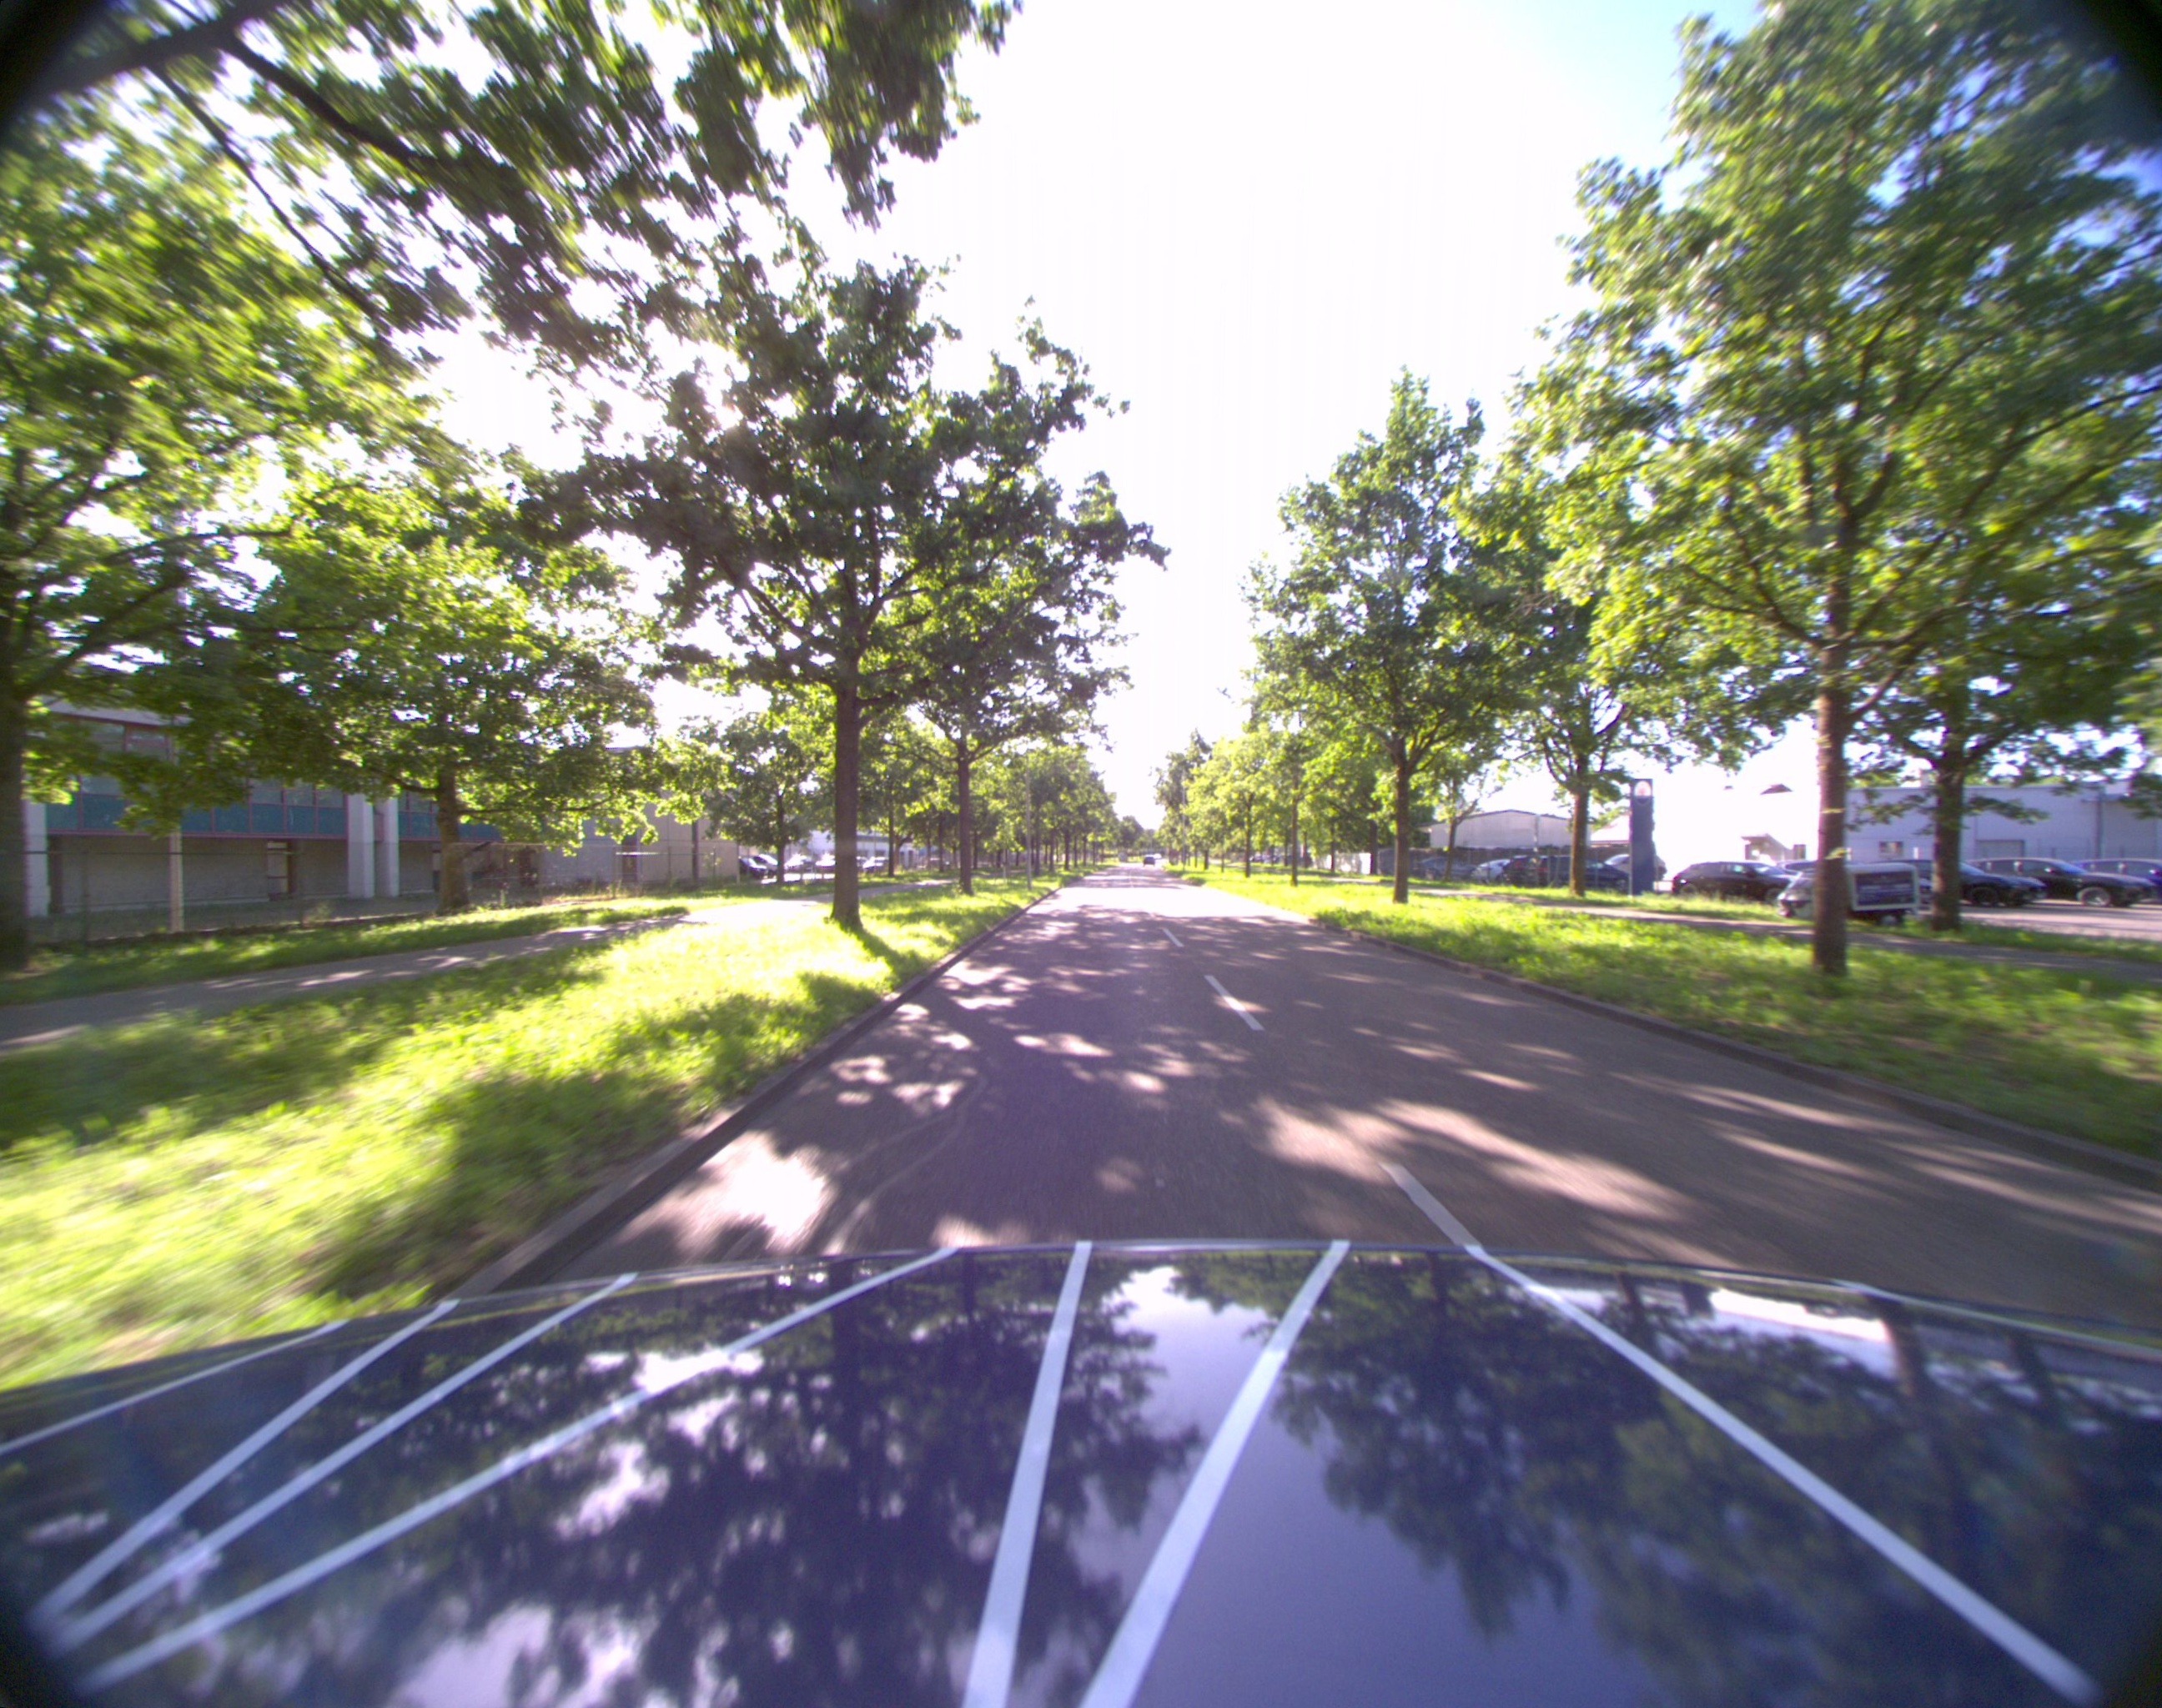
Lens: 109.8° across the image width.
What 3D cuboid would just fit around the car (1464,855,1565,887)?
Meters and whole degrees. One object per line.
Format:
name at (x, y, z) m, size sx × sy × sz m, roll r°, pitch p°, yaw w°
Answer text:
car at (23.300, 0.916, 40.923) m, size 4.320 × 1.510 × 1.862 m, roll -2°, pitch 1°, yaw 4°

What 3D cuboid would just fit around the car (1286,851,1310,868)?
car at (28.425, 0.713, 99.507) m, size 1.998 × 2.162 × 5.673 m, roll 0°, pitch 0°, yaw 5°

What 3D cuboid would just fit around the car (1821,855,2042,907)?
car at (31.571, 0.909, 28.525) m, size 2.000 × 1.680 × 5.254 m, roll -2°, pitch 1°, yaw -10°

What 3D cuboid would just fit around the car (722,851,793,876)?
car at (-26.726, 0.774, 62.849) m, size 5.076 × 1.948 × 1.894 m, roll 1°, pitch 1°, yaw -1°

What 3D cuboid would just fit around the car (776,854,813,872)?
car at (-28.210, 0.870, 74.988) m, size 1.999 × 1.663 × 4.455 m, roll -2°, pitch 1°, yaw -1°

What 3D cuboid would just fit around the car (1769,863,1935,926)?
car at (19.334, 0.980, 19.175) m, size 2.570 × 1.461 × 1.427 m, roll 0°, pitch 0°, yaw 19°

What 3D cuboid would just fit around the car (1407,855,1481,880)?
car at (24.566, 0.888, 51.574) m, size 3.995 × 1.510 × 2.199 m, roll -2°, pitch 1°, yaw 4°

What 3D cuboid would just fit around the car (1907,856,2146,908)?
car at (34.864, 0.937, 28.317) m, size 2.000 × 1.651 × 5.254 m, roll -2°, pitch 1°, yaw -10°

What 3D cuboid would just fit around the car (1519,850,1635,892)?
car at (22.863, 0.757, 35.186) m, size 3.995 × 1.732 × 2.001 m, roll -2°, pitch 1°, yaw 5°

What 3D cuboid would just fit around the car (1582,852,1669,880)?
car at (33.552, 0.731, 46.874) m, size 3.995 × 1.510 × 1.752 m, roll -2°, pitch 1°, yaw 4°

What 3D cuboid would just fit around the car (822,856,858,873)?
car at (-24.246, 1.027, 76.532) m, size 1.998 × 1.663 × 4.456 m, roll 0°, pitch 0°, yaw 2°

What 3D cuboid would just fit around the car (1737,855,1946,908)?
car at (28.148, 0.920, 28.446) m, size 2.000 × 1.707 × 5.254 m, roll -2°, pitch 1°, yaw -12°

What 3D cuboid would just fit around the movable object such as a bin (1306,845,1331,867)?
movable object such as a bin at (29.228, 0.199, 93.562) m, size 1.998 × 2.501 × 4.237 m, roll -2°, pitch 1°, yaw 6°

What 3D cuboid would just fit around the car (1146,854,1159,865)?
car at (10.685, 0.791, 113.974) m, size 1.771 × 1.663 × 4.200 m, roll 1°, pitch 1°, yaw 3°

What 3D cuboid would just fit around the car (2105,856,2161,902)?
car at (41.457, 0.935, 27.273) m, size 2.000 × 1.651 × 5.254 m, roll -2°, pitch 1°, yaw -10°

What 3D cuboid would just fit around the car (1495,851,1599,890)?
car at (23.261, 0.809, 38.071) m, size 3.995 × 1.736 × 1.862 m, roll -2°, pitch 1°, yaw 4°

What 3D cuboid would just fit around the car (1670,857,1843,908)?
car at (25.120, 0.982, 28.509) m, size 2.001 × 1.665 × 4.494 m, roll -2°, pitch 1°, yaw -14°

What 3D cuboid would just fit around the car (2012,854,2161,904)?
car at (38.260, 0.881, 27.641) m, size 2.000 × 1.651 × 5.254 m, roll -2°, pitch 1°, yaw -10°

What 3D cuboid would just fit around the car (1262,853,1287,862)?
car at (34.234, 0.609, 134.223) m, size 3.884 × 1.493 × 2.003 m, roll -2°, pitch 1°, yaw 26°
